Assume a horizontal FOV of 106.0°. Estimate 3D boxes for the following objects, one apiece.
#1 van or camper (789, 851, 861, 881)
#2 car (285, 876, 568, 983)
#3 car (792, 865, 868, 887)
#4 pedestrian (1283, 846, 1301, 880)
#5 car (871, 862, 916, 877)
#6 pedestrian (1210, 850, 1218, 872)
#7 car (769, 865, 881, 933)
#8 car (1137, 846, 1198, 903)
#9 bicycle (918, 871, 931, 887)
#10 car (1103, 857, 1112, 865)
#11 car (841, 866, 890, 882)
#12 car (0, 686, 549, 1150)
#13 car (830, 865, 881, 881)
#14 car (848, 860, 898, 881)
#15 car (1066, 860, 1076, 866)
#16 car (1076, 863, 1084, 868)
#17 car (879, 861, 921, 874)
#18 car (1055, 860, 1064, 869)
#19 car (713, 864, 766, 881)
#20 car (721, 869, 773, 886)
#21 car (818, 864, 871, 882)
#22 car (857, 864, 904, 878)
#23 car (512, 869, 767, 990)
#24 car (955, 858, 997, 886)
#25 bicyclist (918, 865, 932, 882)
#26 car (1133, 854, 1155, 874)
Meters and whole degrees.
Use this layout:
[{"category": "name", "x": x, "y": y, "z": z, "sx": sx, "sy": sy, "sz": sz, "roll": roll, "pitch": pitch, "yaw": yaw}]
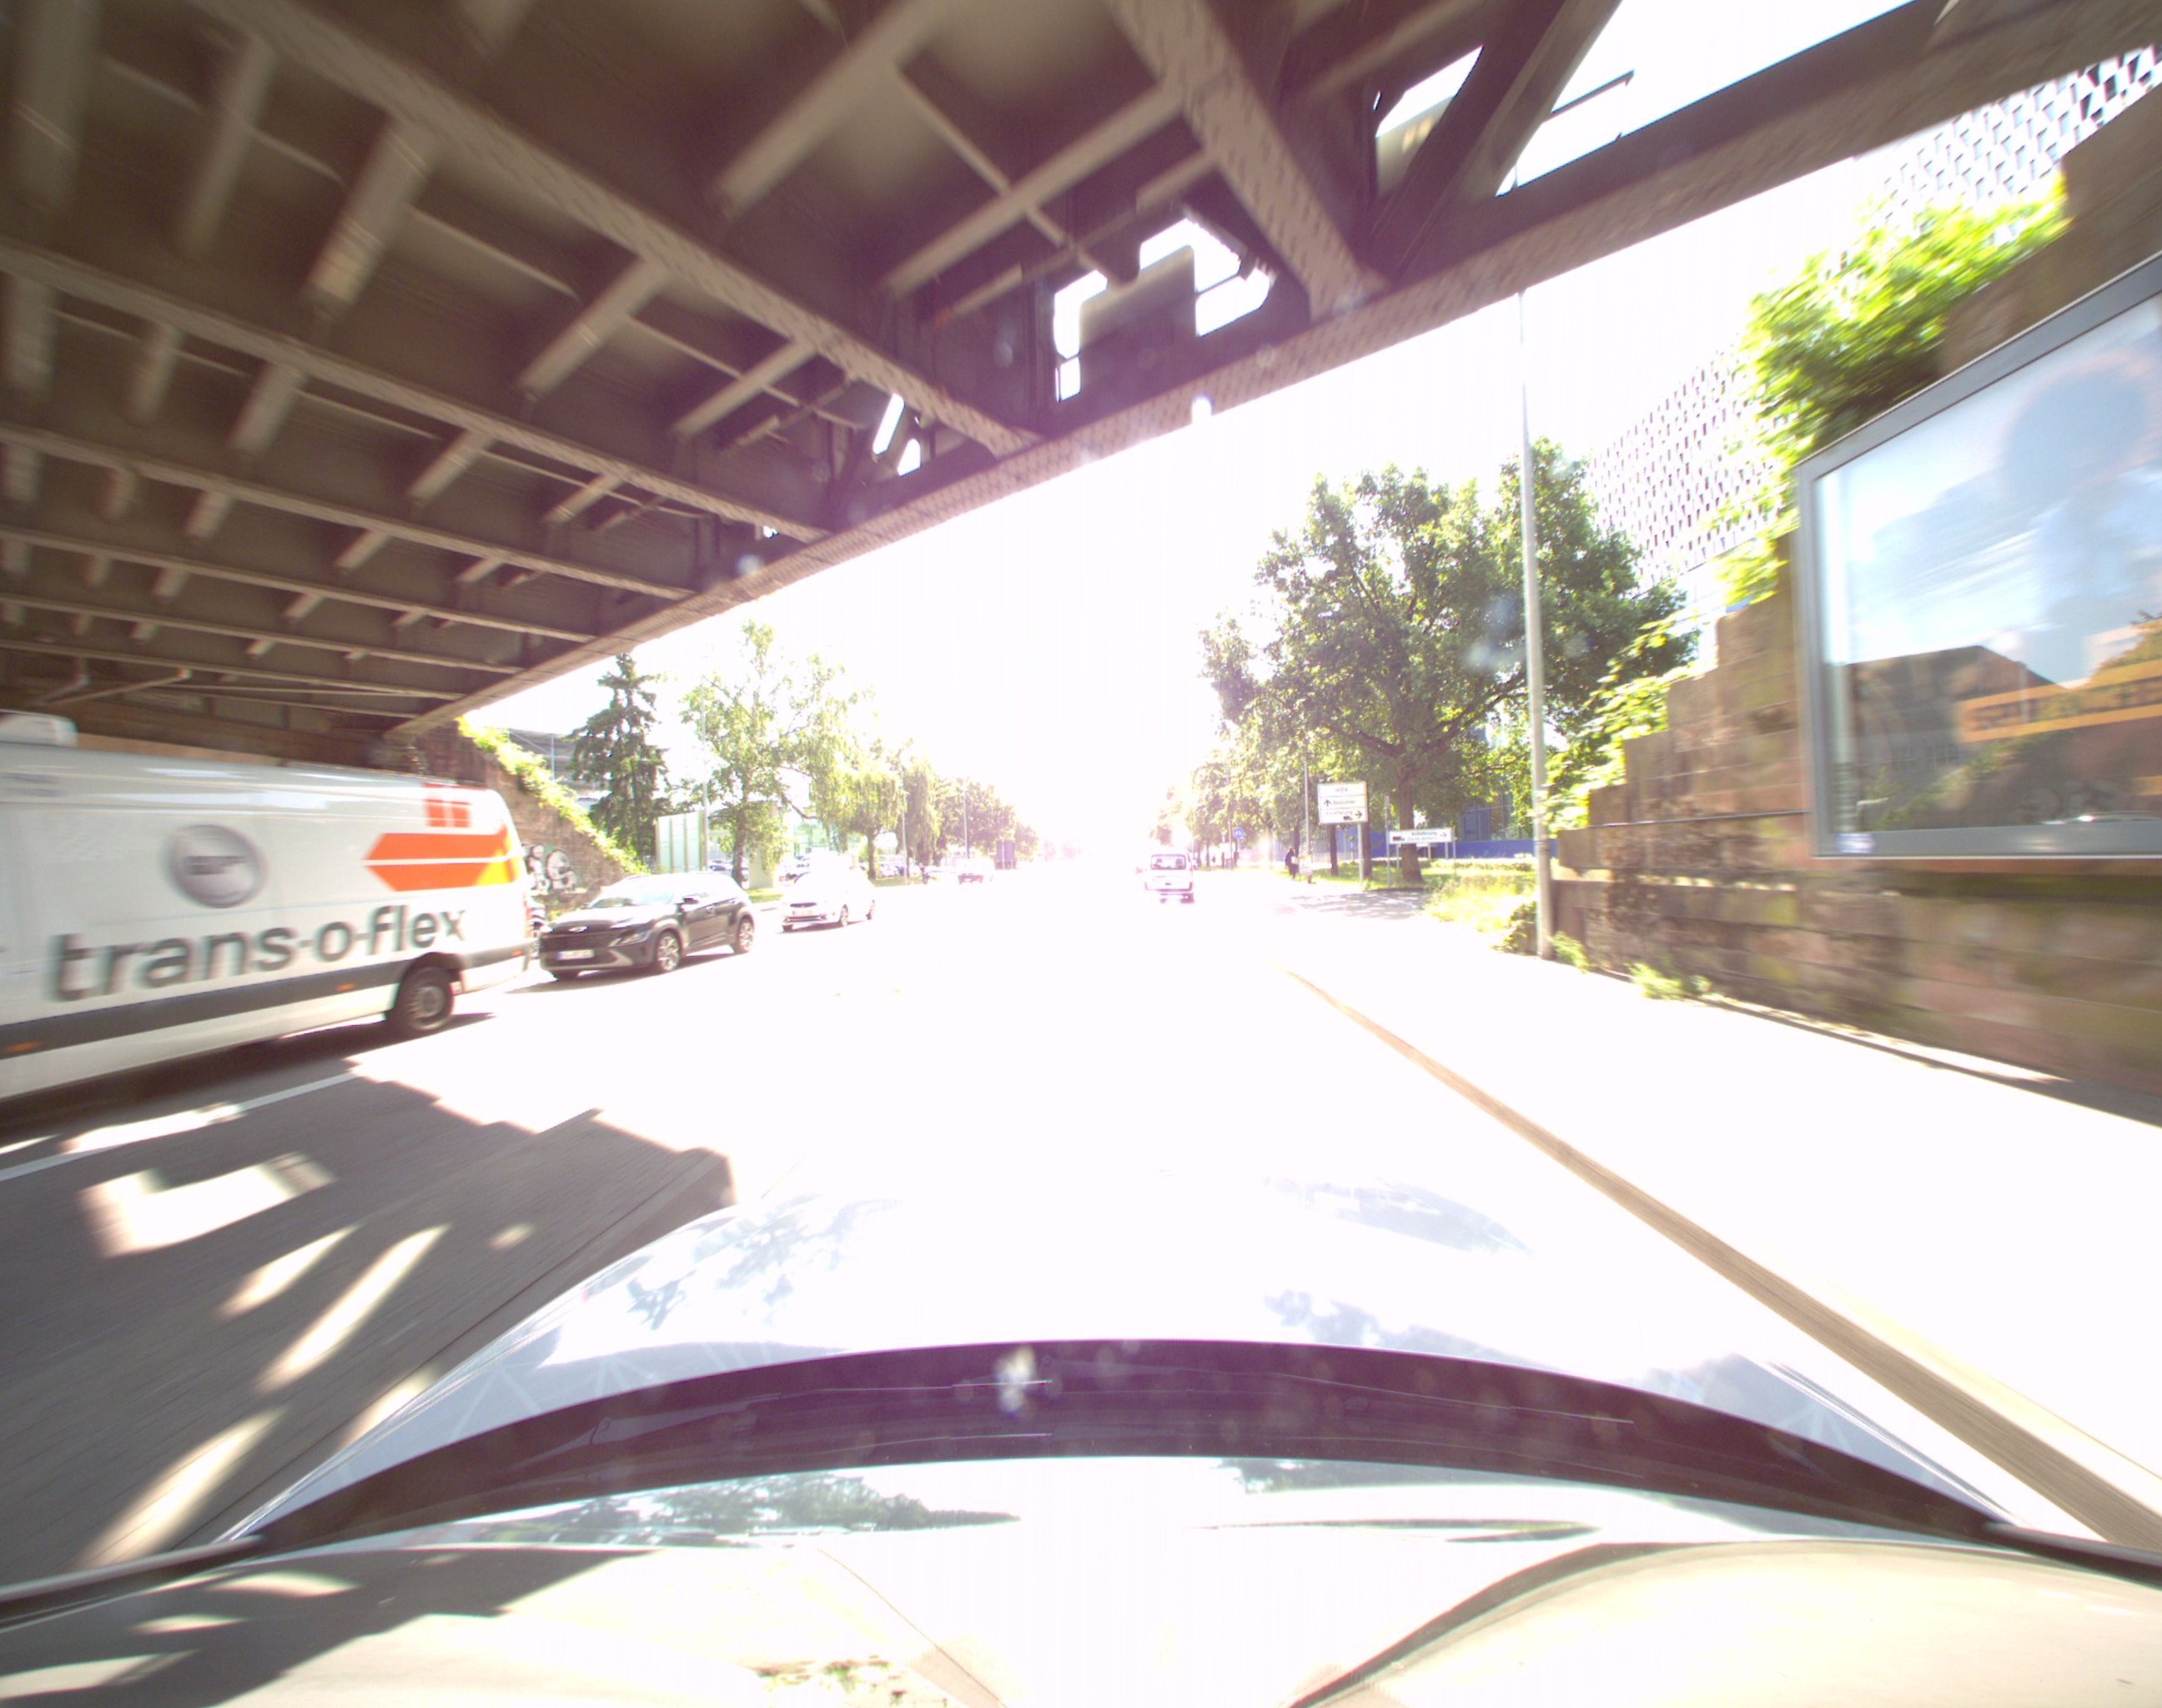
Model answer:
[{"category": "van or camper", "x": -21.196, "y": 0.982, "z": 67.591, "sx": 5.361, "sy": 2.470, "sz": 2.000, "roll": 0, "pitch": 1, "yaw": 0}, {"category": "car", "x": -12.088, "y": 1.304, "z": 15.482, "sx": 1.761, "sy": 1.494, "sz": 4.181, "roll": -3, "pitch": 1, "yaw": 3}, {"category": "car", "x": -17.780, "y": 1.558, "z": 57.792, "sx": 4.636, "sy": 1.413, "sz": 2.006, "roll": -2, "pitch": -1, "yaw": 11}, {"category": "pedestrian", "x": 10.205, "y": 0.453, "z": 39.451, "sx": 0.644, "sy": 1.603, "sz": 0.847, "roll": -2, "pitch": -1, "yaw": 3}, {"category": "car", "x": -20.215, "y": 1.666, "z": 87.724, "sx": 4.246, "sy": 1.381, "sz": 1.956, "roll": -2, "pitch": -1, "yaw": 4}, {"category": "pedestrian", "x": 11.662, "y": 0.613, "z": 71.578, "sx": 0.533, "sy": 1.842, "sz": 0.728, "roll": -2, "pitch": -1, "yaw": 3}, {"category": "car", "x": -6.802, "y": 1.138, "z": 22.083, "sx": 1.636, "sy": 1.494, "sz": 3.830, "roll": -3, "pitch": 1, "yaw": 2}, {"category": "car", "x": 2.994, "y": 0.689, "z": 29.039, "sx": 1.897, "sy": 1.829, "sz": 4.183, "roll": -2, "pitch": -1, "yaw": 3}, {"category": "bicycle", "x": -11.129, "y": 1.773, "z": 57.940, "sx": 0.443, "sy": 1.027, "sz": 1.619, "roll": -2, "pitch": 0, "yaw": 7}, {"category": "car", "x": 6.176, "y": 1.675, "z": 189.642, "sx": 1.985, "sy": 1.684, "sz": 4.003, "roll": -2, "pitch": -1, "yaw": 3}, {"category": "car", "x": -20.334, "y": 1.889, "z": 76.861, "sx": 4.068, "sy": 1.293, "sz": 1.746, "roll": -2, "pitch": -1, "yaw": 4}, {"category": "car", "x": -7.524, "y": 0.448, "z": 6.304, "sx": 1.987, "sy": 2.805, "sz": 6.938, "roll": -4, "pitch": 0, "yaw": 1}, {"category": "car", "x": -20.506, "y": 1.752, "z": 74.148, "sx": 4.064, "sy": 1.354, "sz": 1.747, "roll": -2, "pitch": -1, "yaw": 7}, {"category": "car", "x": -20.272, "y": 1.585, "z": 79.391, "sx": 4.246, "sy": 1.884, "sz": 1.956, "roll": -2, "pitch": -1, "yaw": 4}, {"category": "car", "x": -2.405, "y": 2.124, "z": 194.151, "sx": 1.834, "sy": 1.463, "sz": 5.003, "roll": -4, "pitch": -1, "yaw": 3}, {"category": "car", "x": -0.342, "y": 3.247, "z": 231.450, "sx": 1.806, "sy": 1.464, "sz": 4.008, "roll": -2, "pitch": -1, "yaw": 7}, {"category": "car", "x": -20.623, "y": 1.547, "z": 92.932, "sx": 4.246, "sy": 1.350, "sz": 1.956, "roll": -2, "pitch": -1, "yaw": 4}, {"category": "car", "x": -5.281, "y": 2.559, "z": 199.879, "sx": 1.985, "sy": 2.013, "sz": 4.005, "roll": 0, "pitch": 1, "yaw": 4}, {"category": "car", "x": -31.177, "y": 1.692, "z": 74.454, "sx": 4.064, "sy": 1.354, "sz": 1.747, "roll": -2, "pitch": -1, "yaw": 7}, {"category": "car", "x": -31.611, "y": 2.172, "z": 77.149, "sx": 4.070, "sy": 1.438, "sz": 1.745, "roll": -2, "pitch": -1, "yaw": 3}, {"category": "car", "x": -20.871, "y": 1.679, "z": 71.794, "sx": 4.064, "sy": 1.438, "sz": 1.747, "roll": -2, "pitch": -1, "yaw": 7}, {"category": "car", "x": -20.896, "y": 1.761, "z": 84.860, "sx": 4.246, "sy": 1.328, "sz": 1.956, "roll": -2, "pitch": -1, "yaw": 4}, {"category": "car", "x": -7.113, "y": 1.123, "z": 13.718, "sx": 1.761, "sy": 1.494, "sz": 4.181, "roll": -3, "pitch": 1, "yaw": 3}, {"category": "car", "x": -8.244, "y": 1.352, "z": 64.370, "sx": 1.983, "sy": 2.013, "sz": 5.357, "roll": -2, "pitch": 0, "yaw": 7}, {"category": "bicyclist", "x": -11.136, "y": 1.390, "z": 58.155, "sx": 0.630, "sy": 1.227, "sz": 0.952, "roll": -2, "pitch": -1, "yaw": 7}, {"category": "car", "x": 5.603, "y": 0.897, "z": 71.753, "sx": 1.798, "sy": 1.640, "sz": 4.466, "roll": -2, "pitch": -1, "yaw": 6}]
